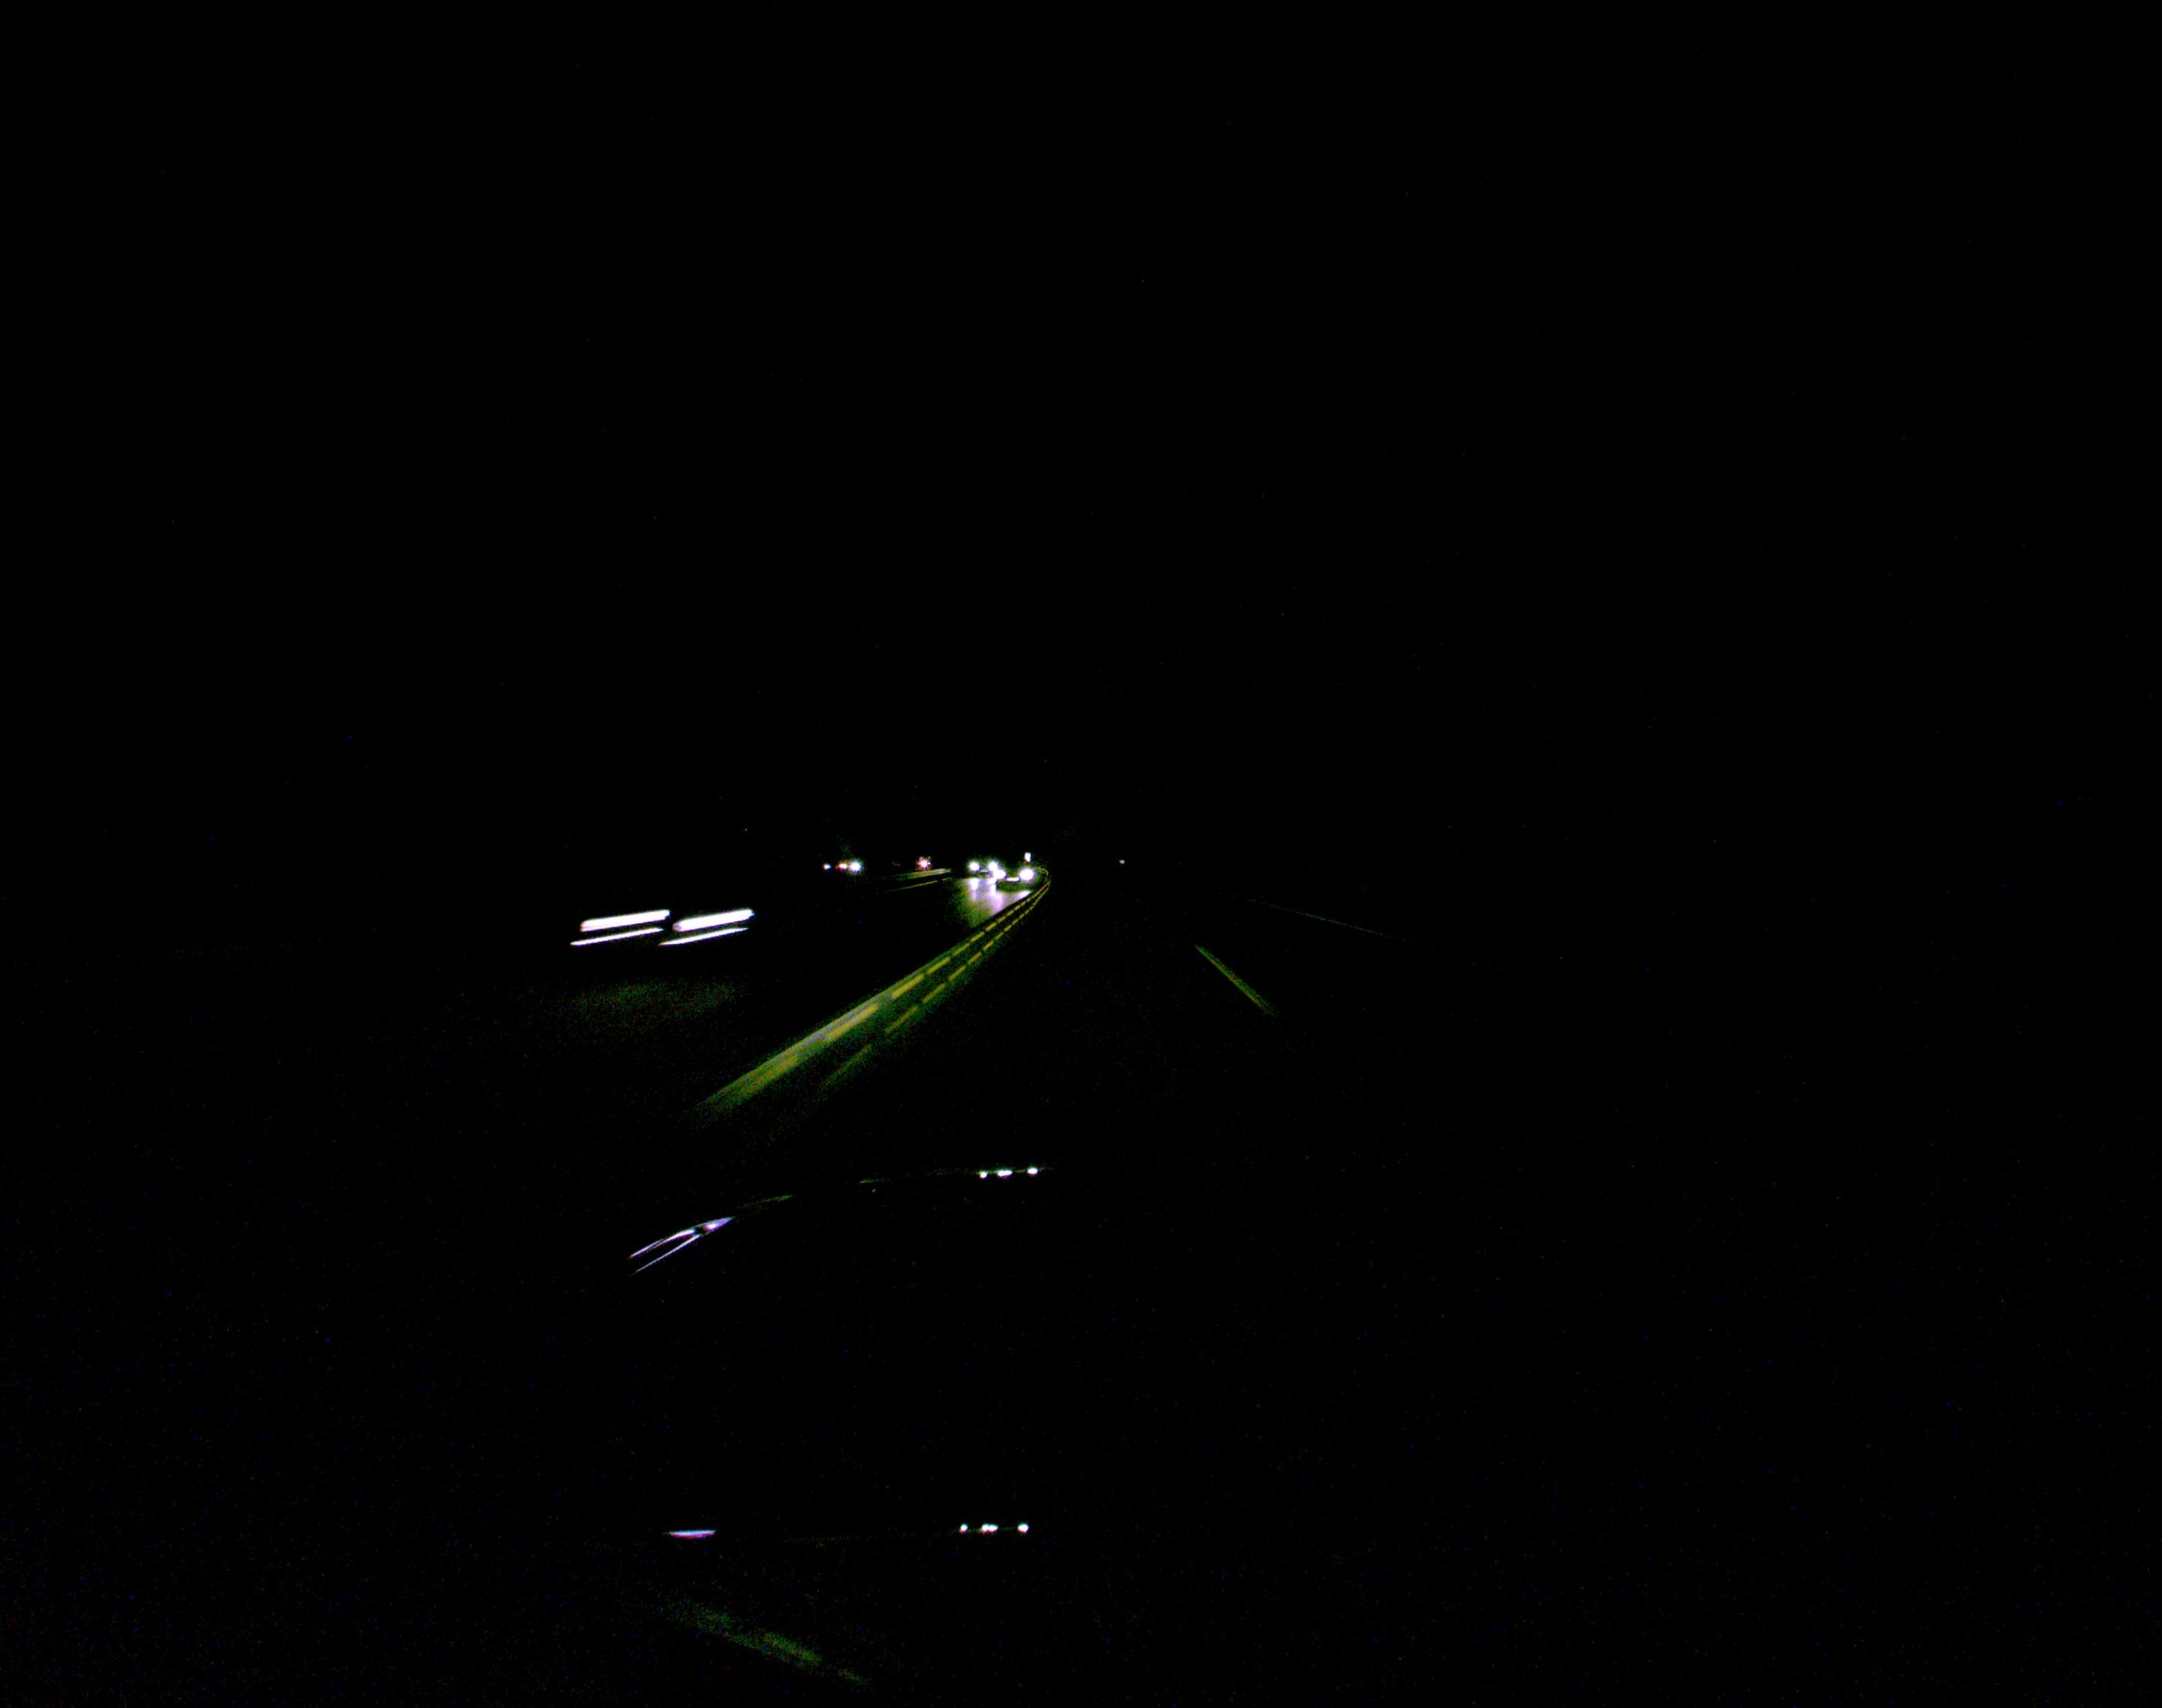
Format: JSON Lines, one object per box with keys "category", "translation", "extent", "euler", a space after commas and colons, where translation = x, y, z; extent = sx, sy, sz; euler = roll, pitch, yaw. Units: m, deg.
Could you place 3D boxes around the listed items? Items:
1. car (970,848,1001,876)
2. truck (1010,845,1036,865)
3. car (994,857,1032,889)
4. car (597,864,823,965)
{"category": "car", "translation": [-7.524, 0.658, 64.836], "extent": [1.989, 2.014, 5.581], "euler": [-2, -1, -2]}
{"category": "truck", "translation": [-14.554, 0.277, 202.109], "extent": [4.018, 4.552, 13.884], "euler": [-2, -1, -14]}
{"category": "car", "translation": [-3.368, 0.915, 40.937], "extent": [1.647, 1.469, 3.997], "euler": [-2, -1, -2]}
{"category": "car", "translation": [-5.807, 0.861, 13.392], "extent": [1.710, 1.380, 4.243], "euler": [-1, -1, 1]}
